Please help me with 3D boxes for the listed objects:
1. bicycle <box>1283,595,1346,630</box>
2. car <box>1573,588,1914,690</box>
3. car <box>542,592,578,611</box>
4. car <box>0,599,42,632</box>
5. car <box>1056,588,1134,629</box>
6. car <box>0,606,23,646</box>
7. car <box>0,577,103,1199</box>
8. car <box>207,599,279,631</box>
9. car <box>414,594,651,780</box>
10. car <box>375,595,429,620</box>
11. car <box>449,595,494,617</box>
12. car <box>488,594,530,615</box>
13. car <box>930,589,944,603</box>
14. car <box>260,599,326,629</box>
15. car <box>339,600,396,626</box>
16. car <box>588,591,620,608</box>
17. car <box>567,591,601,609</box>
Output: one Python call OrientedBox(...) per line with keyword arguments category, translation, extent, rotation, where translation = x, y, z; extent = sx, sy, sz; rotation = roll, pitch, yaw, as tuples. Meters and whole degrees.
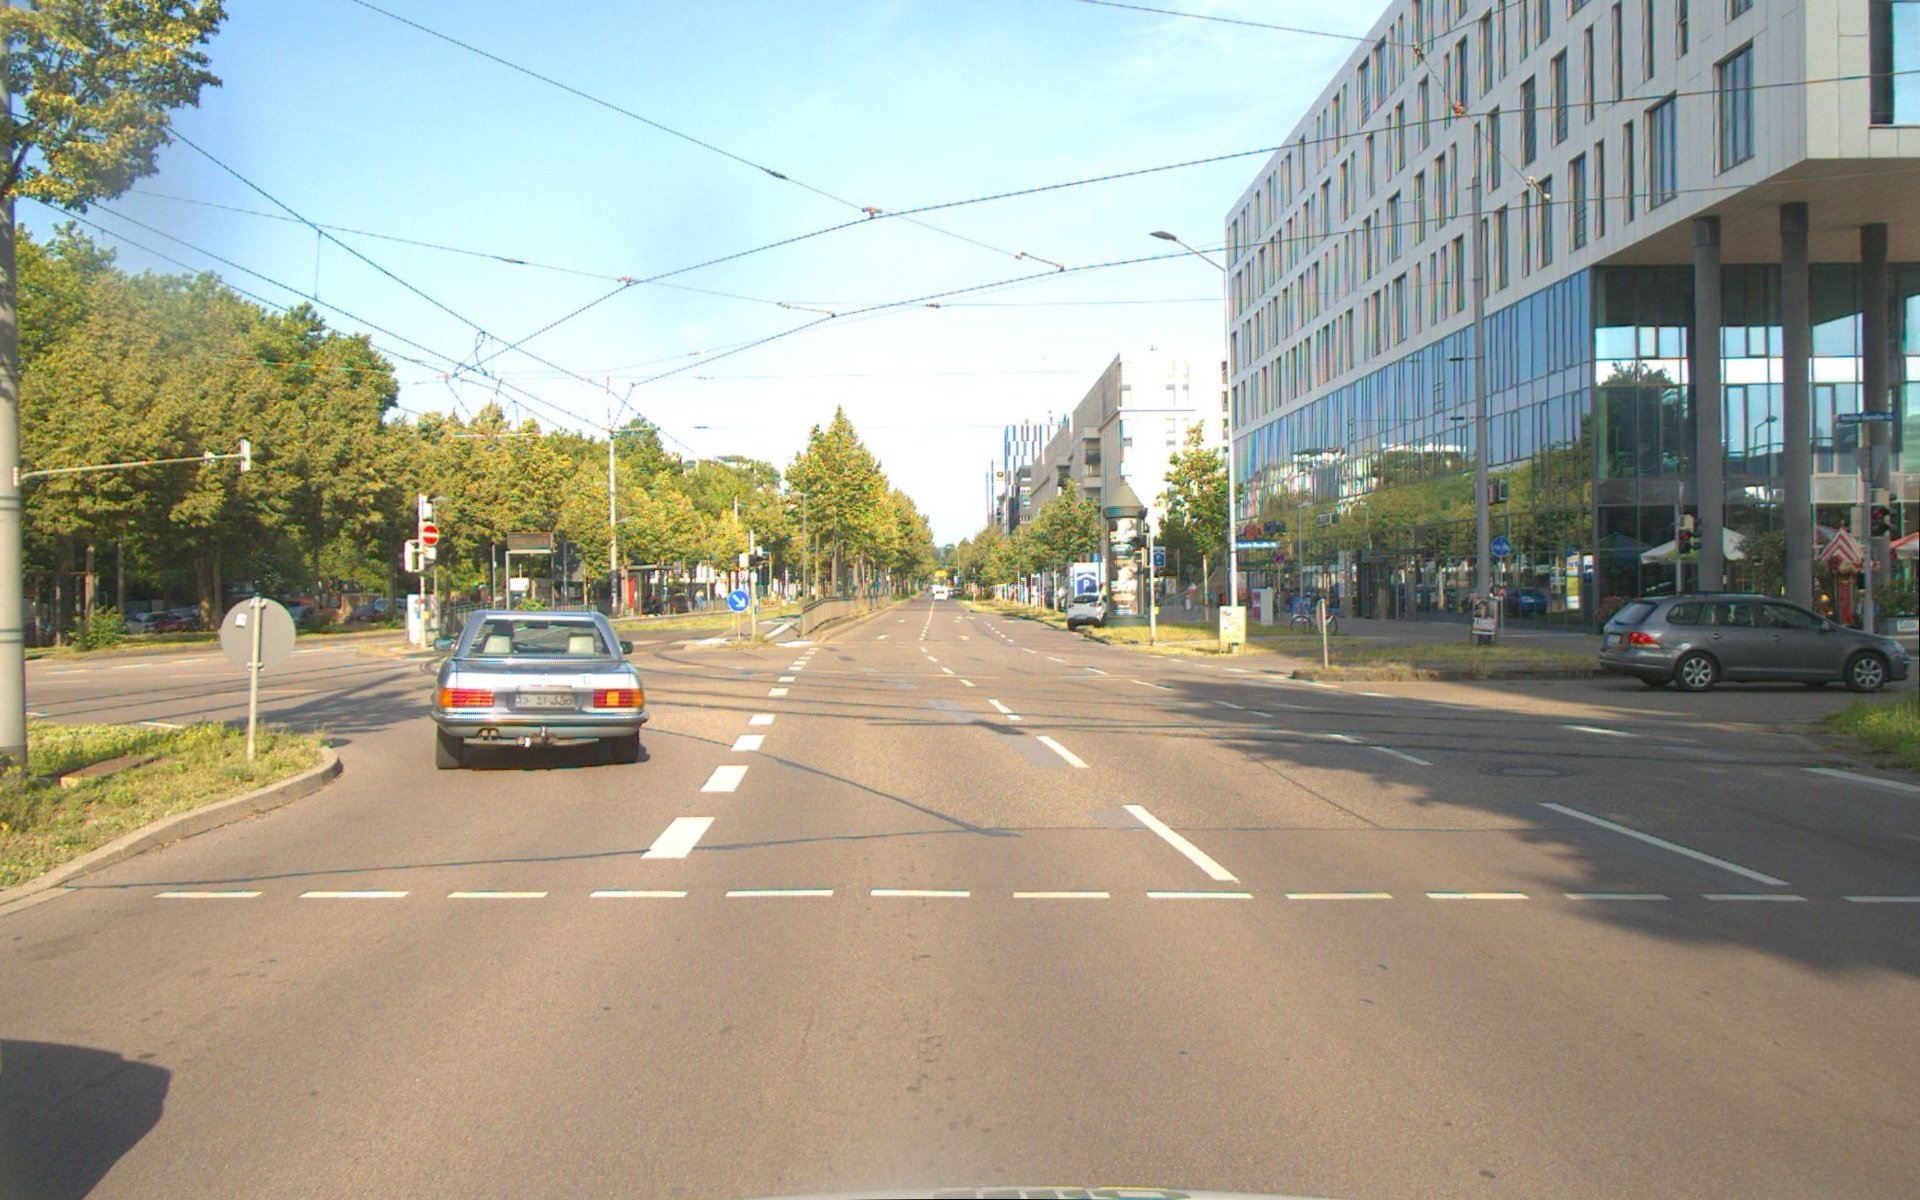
OrientedBox(category="bicycle", translation=(11.384, 0.387, 53.147), extent=(0.768, 1.050, 1.848), rotation=(-1, 3, -44))
OrientedBox(category="car", translation=(12.049, 0.581, 25.642), extent=(4.464, 1.487, 1.735), rotation=(0, 0, 3))
OrientedBox(category="car", translation=(-34.467, 0.097, 142.726), extent=(1.841, 1.586, 4.002), rotation=(-1, 0, 4))
OrientedBox(category="car", translation=(-46.655, 0.765, 80.213), extent=(1.841, 1.586, 4.002), rotation=(-1, 0, 4))
OrientedBox(category="car", translation=(5.669, 0.349, 69.075), extent=(1.954, 1.530, 4.091), rotation=(-4, -1, 24))
OrientedBox(category="car", translation=(-39.326, 1.059, 65.580), extent=(1.841, 1.586, 4.002), rotation=(-1, 0, 4))
OrientedBox(category="car", translation=(-2.827, 0.719, 1.513), extent=(1.750, 1.504, 4.354), rotation=(1, 1, 1))
OrientedBox(category="car", translation=(-38.121, 0.771, 87.991), extent=(1.841, 1.586, 4.002), rotation=(-1, 0, 4))
OrientedBox(category="car", translation=(-3.645, 0.644, 14.714), extent=(1.732, 1.353, 4.388), rotation=(-1, 1, -11))
OrientedBox(category="car", translation=(-36.444, 0.479, 108.122), extent=(1.841, 1.586, 4.002), rotation=(-1, 0, 4))
OrientedBox(category="car", translation=(-35.613, 0.412, 120.616), extent=(1.841, 1.586, 4.002), rotation=(-1, 0, 4))
OrientedBox(category="car", translation=(-35.029, 0.310, 128.547), extent=(1.841, 1.586, 4.002), rotation=(-1, 0, 4))
OrientedBox(category="car", translation=(-2.989, -0.528, 215.498), extent=(1.826, 1.713, 4.000), rotation=(1, 1, 0))
OrientedBox(category="car", translation=(-37.702, 0.788, 93.570), extent=(1.841, 1.586, 4.002), rotation=(-1, 0, 4))
OrientedBox(category="car", translation=(-36.875, 0.801, 103.036), extent=(1.841, 1.586, 4.002), rotation=(-1, 0, 4))
OrientedBox(category="car", translation=(-33.403, -0.059, 155.418), extent=(1.841, 1.586, 4.002), rotation=(-1, 0, 4))
OrientedBox(category="car", translation=(-33.846, 0.022, 148.987), extent=(1.841, 1.586, 4.002), rotation=(-1, 0, 4))
